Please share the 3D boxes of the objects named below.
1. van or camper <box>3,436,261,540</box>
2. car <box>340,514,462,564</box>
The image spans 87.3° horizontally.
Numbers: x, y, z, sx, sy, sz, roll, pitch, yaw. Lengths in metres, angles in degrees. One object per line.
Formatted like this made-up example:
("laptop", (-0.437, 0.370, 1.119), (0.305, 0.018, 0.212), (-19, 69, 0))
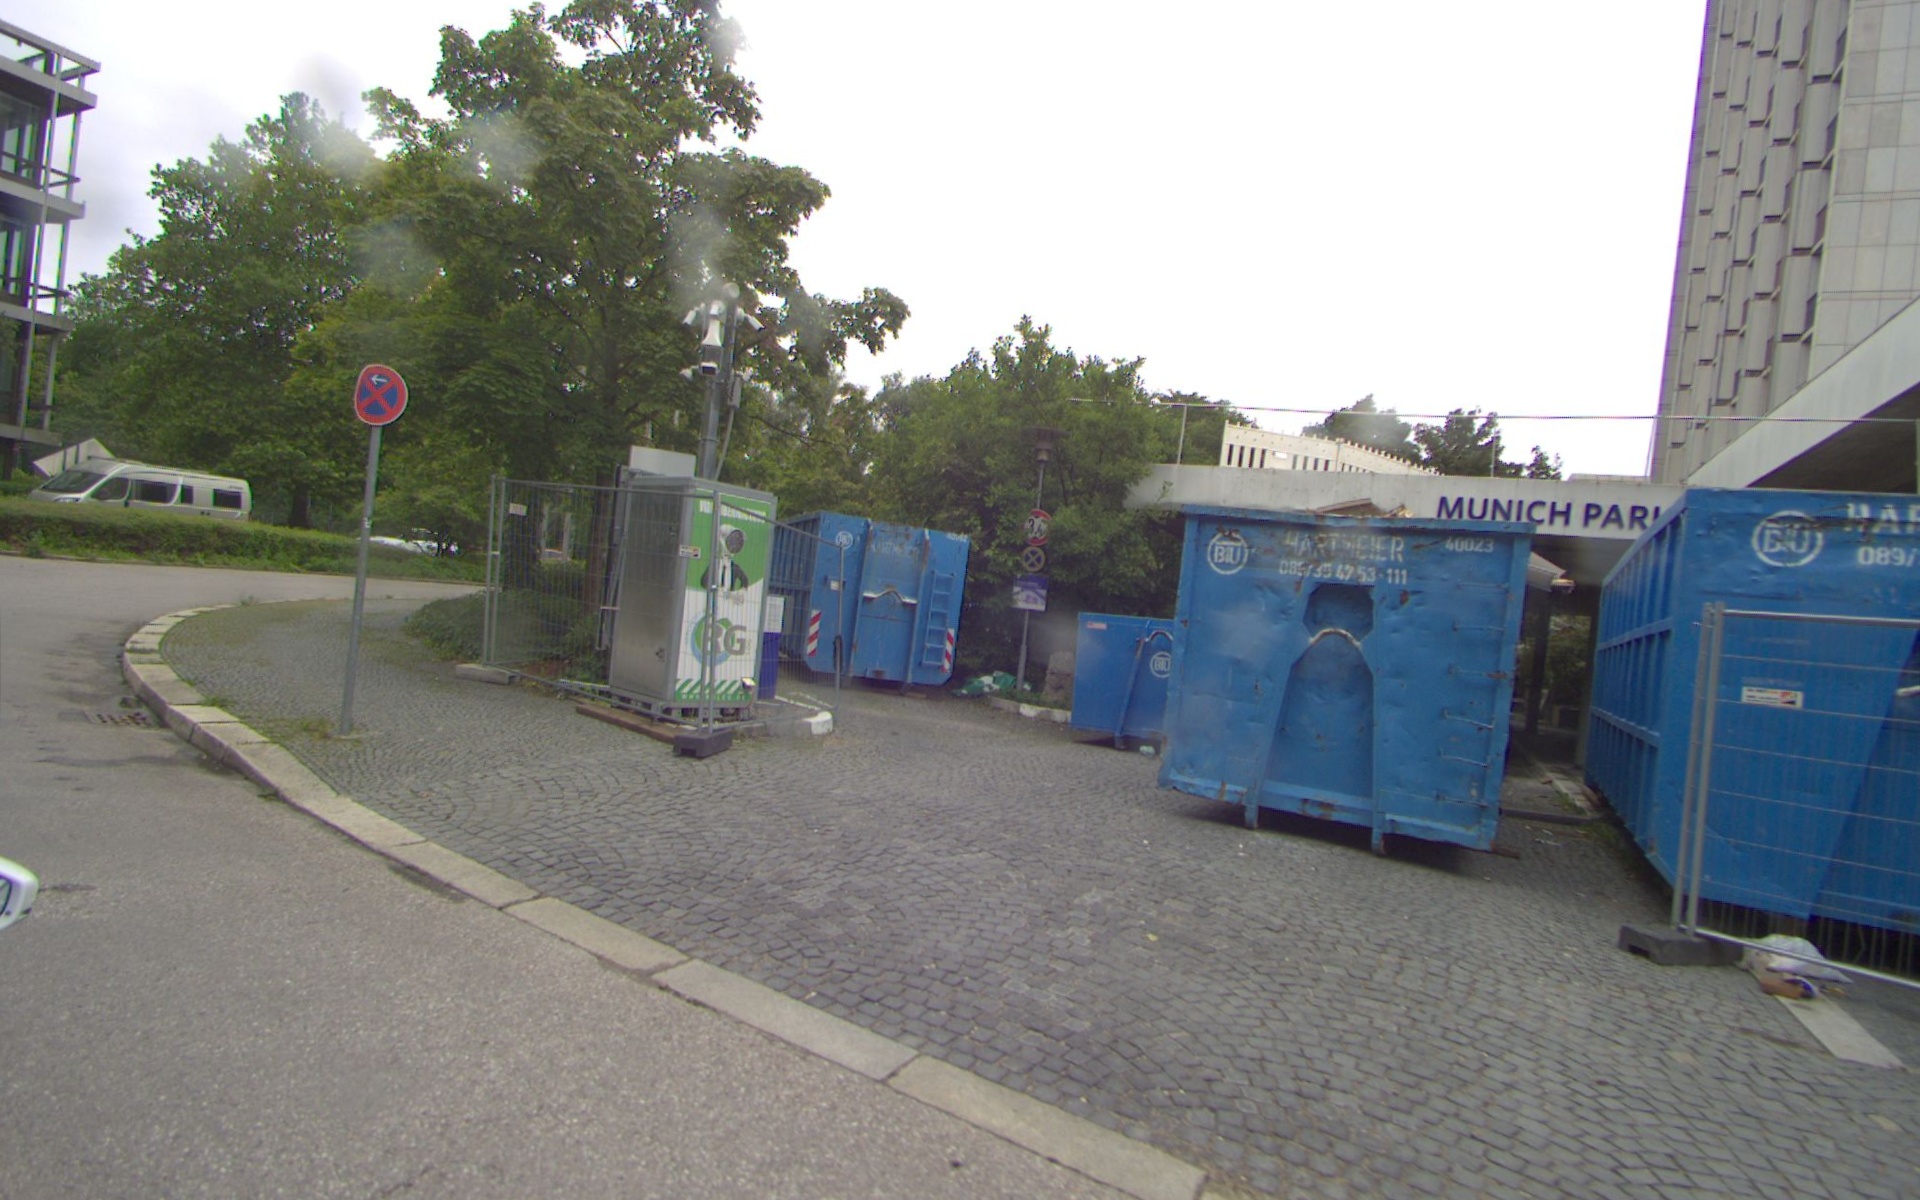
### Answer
("van or camper", (-26.902, -3.534, 33.131), (2.212, 2.309, 6.421), (7, 0, 13))
("car", (-23.522, -2.542, 42.468), (1.965, 1.527, 3.994), (7, 0, 28))
